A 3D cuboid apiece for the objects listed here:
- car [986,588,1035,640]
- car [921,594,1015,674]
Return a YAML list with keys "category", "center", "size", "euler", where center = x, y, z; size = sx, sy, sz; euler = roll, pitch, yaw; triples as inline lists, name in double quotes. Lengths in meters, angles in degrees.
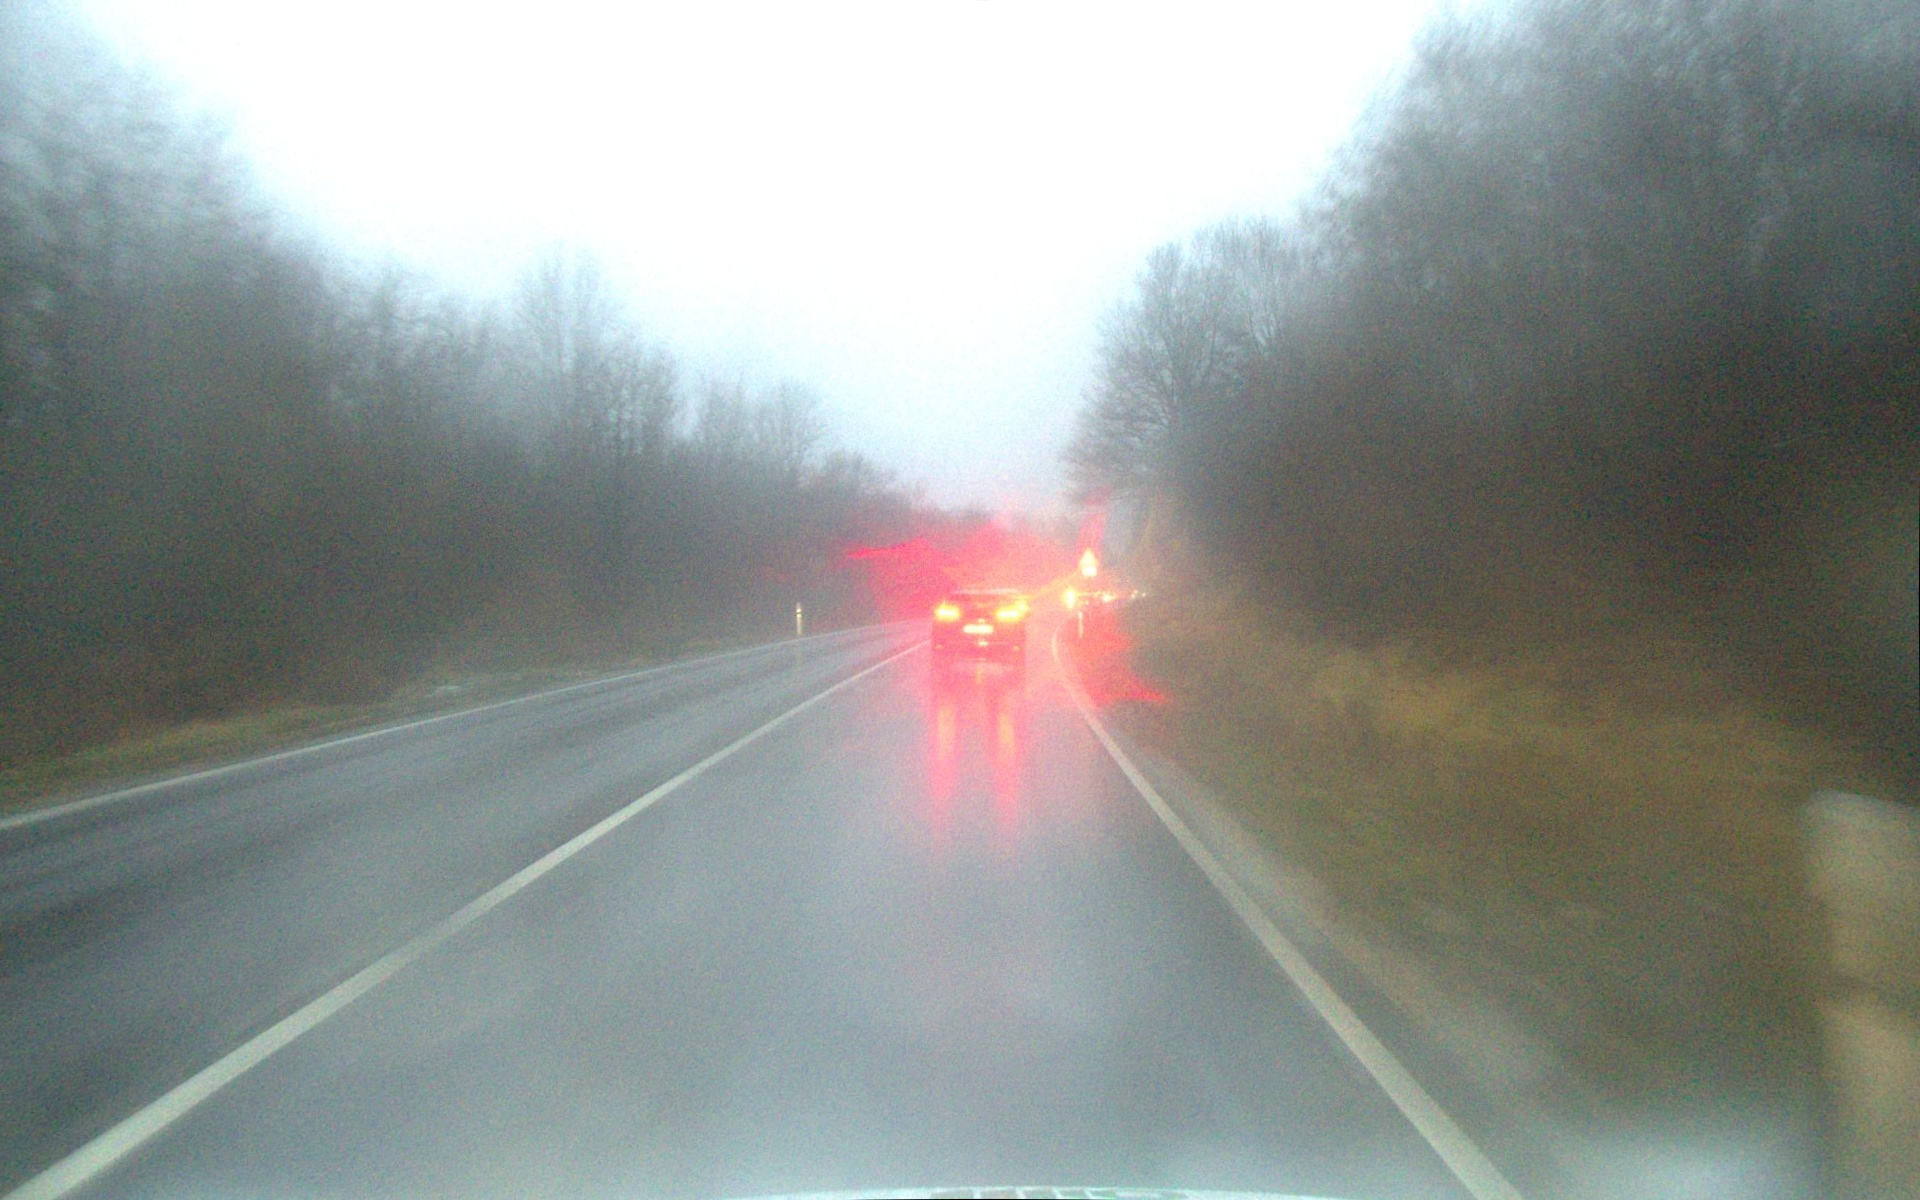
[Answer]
- category: "car"
  center: [1.752, 0.464, 57.338]
  size: [1.644, 1.704, 4.099]
  euler: [0, 0, 2]
- category: "car"
  center: [0.209, 0.596, 31.492]
  size: [1.644, 1.414, 4.099]
  euler: [0, 0, 2]
